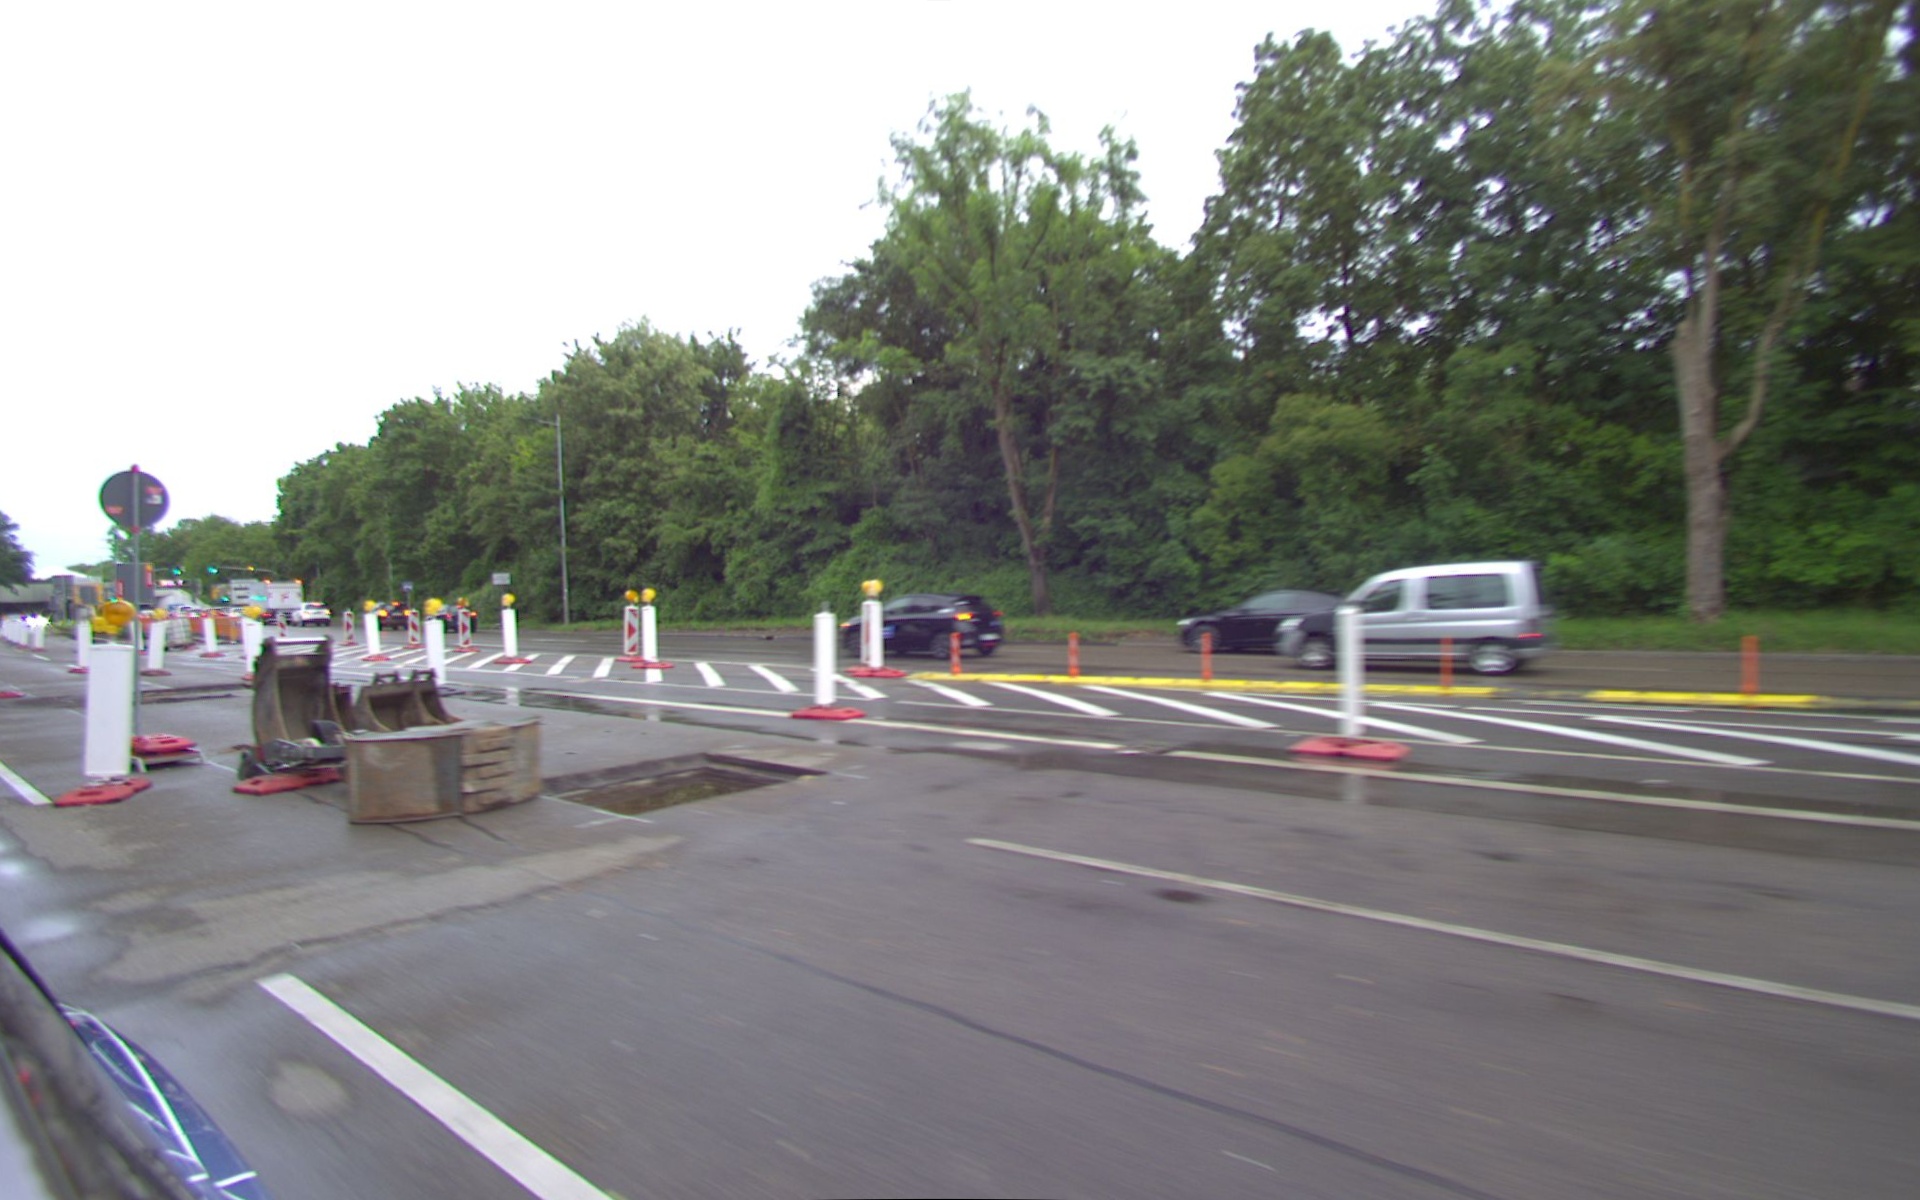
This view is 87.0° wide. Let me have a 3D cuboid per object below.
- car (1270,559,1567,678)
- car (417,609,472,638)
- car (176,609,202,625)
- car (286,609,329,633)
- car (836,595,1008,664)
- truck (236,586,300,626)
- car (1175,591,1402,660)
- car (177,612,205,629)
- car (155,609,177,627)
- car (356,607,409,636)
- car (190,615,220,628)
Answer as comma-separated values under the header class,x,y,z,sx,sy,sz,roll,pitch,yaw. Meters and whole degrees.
class,x,y,z,sx,sy,sz,roll,pitch,yaw
car,7.306,0.297,16.380,4.126,1.708,1.413,-2,-1,40
car,-27.290,1.241,53.552,3.539,1.468,1.509,-1,-1,43
car,-95.329,2.133,125.103,1.892,1.794,4.836,-3,0,-45
car,-49.642,1.590,76.994,1.823,1.736,4.722,3,-3,-44
car,-0.900,0.645,22.509,3.820,1.418,1.413,-1,-1,38
truck,-59.199,0.561,86.417,2.763,3.172,10.154,-2,1,-44
car,6.705,0.516,20.936,4.225,1.272,1.413,-2,0,40
car,-79.311,2.114,104.352,1.814,1.562,4.042,-2,0,-44
car,-114.618,2.580,146.051,2.168,2.408,6.252,-4,1,-41
car,-34.933,1.322,61.175,4.199,1.659,1.617,-2,-1,43
car,-69.941,1.967,93.725,1.587,1.161,4.285,-2,1,-44
